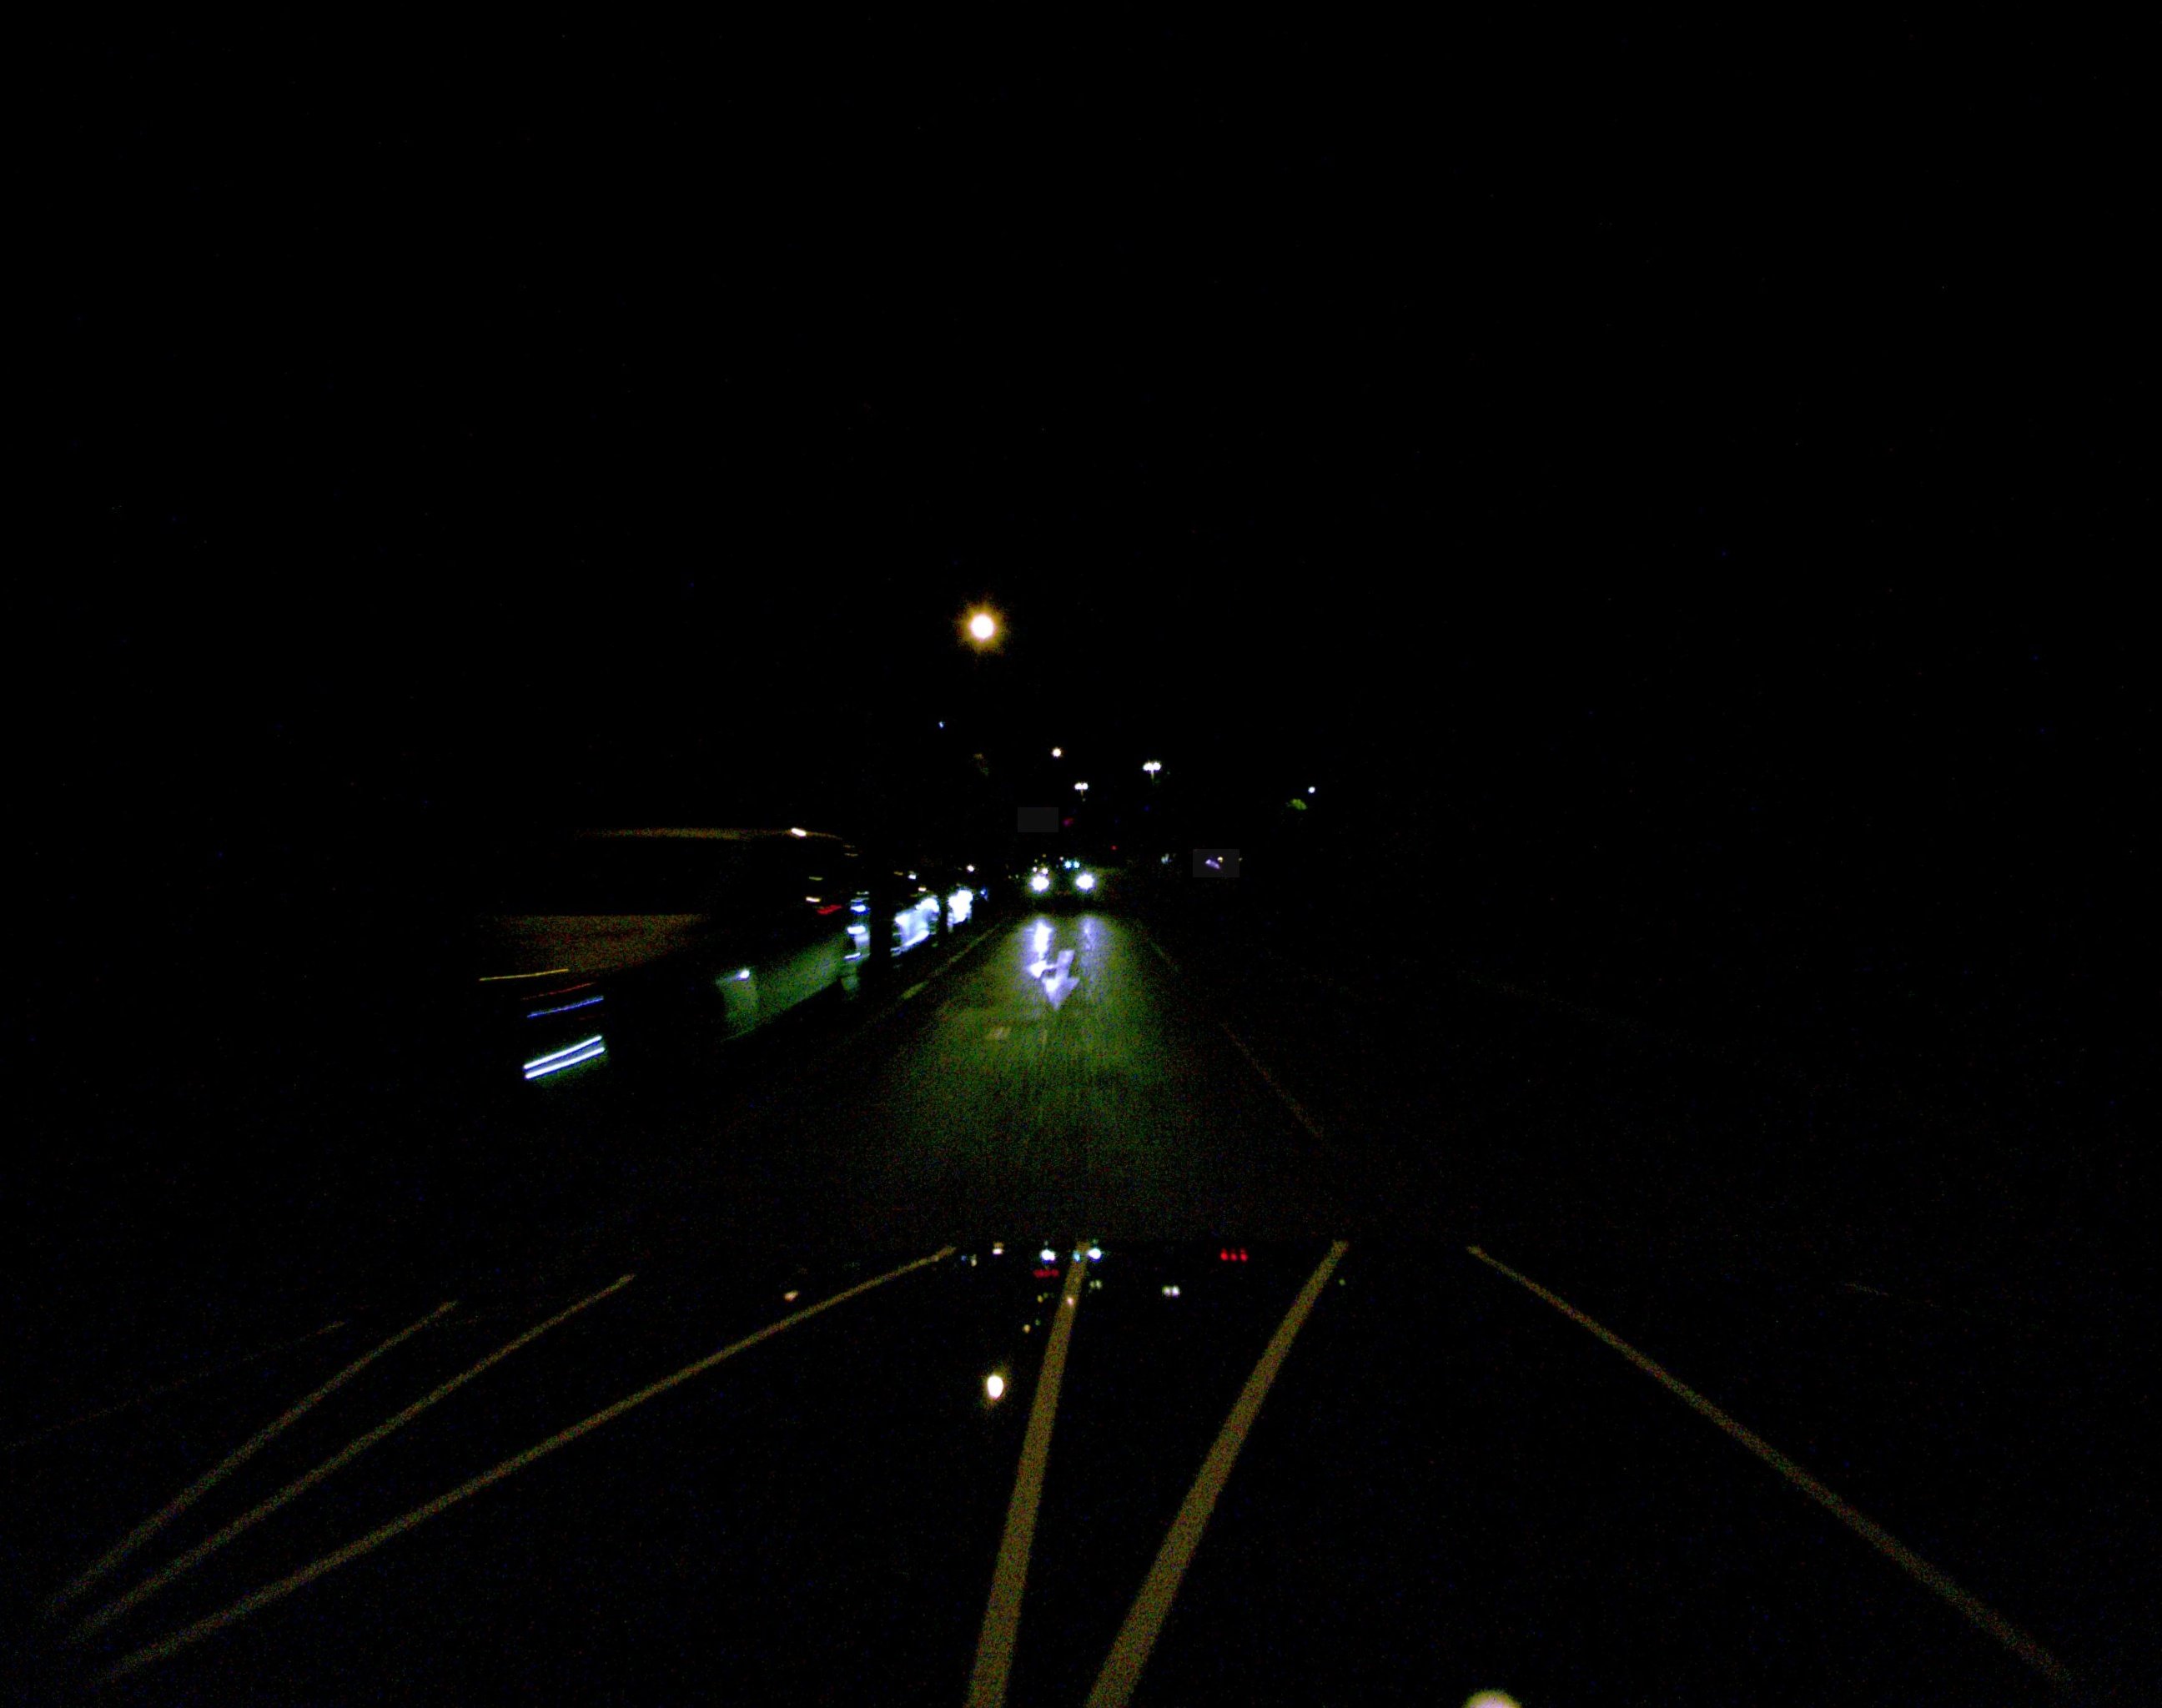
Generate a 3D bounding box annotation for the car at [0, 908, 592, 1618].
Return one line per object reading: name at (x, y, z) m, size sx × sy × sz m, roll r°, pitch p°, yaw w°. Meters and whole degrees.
car at (-3.307, 0.978, 1.508) m, size 1.820 × 1.419 × 4.189 m, roll 0°, pitch 0°, yaw 3°

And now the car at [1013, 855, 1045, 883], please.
car at (-3.201, 0.918, 47.724) m, size 1.824 × 1.590 × 4.219 m, roll 1°, pitch 1°, yaw -2°

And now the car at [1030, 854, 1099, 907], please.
car at (-0.470, 0.813, 25.213) m, size 1.998 × 1.607 × 4.001 m, roll -1°, pitch 0°, yaw 3°

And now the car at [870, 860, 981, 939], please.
car at (-3.351, 0.919, 17.026) m, size 1.599 × 1.458 × 3.718 m, roll -1°, pitch 1°, yaw 1°

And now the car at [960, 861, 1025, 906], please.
car at (-3.239, 1.047, 28.634) m, size 1.783 × 1.418 × 4.480 m, roll -1°, pitch 1°, yaw 1°

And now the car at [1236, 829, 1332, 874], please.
car at (8.953, -0.103, 33.711) m, size 3.993 × 1.878 × 1.910 m, roll -1°, pitch 1°, yaw 13°

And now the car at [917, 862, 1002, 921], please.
car at (-3.366, 1.007, 21.815) m, size 1.783 × 1.418 × 3.891 m, roll -1°, pitch 1°, yaw 0°

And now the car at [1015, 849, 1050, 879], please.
car at (-3.360, 0.636, 53.249) m, size 2.077 × 1.917 × 5.369 m, roll 0°, pitch 1°, yaw 0°

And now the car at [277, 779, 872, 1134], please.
car at (-3.346, 0.544, 6.416) m, size 1.805 × 1.864 × 4.773 m, roll 1°, pitch 0°, yaw 0°

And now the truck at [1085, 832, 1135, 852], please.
truck at (5.545, -2.262, 146.147) m, size 9.340 × 3.701 × 2.002 m, roll -1°, pitch 1°, yaw 16°

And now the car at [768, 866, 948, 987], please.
car at (-3.311, 0.999, 12.071) m, size 1.599 × 1.458 × 3.891 m, roll -1°, pitch 1°, yaw 1°

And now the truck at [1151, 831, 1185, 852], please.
truck at (16.458, -2.363, 143.716) m, size 6.196 × 3.673 × 2.403 m, roll -1°, pitch 1°, yaw 13°
